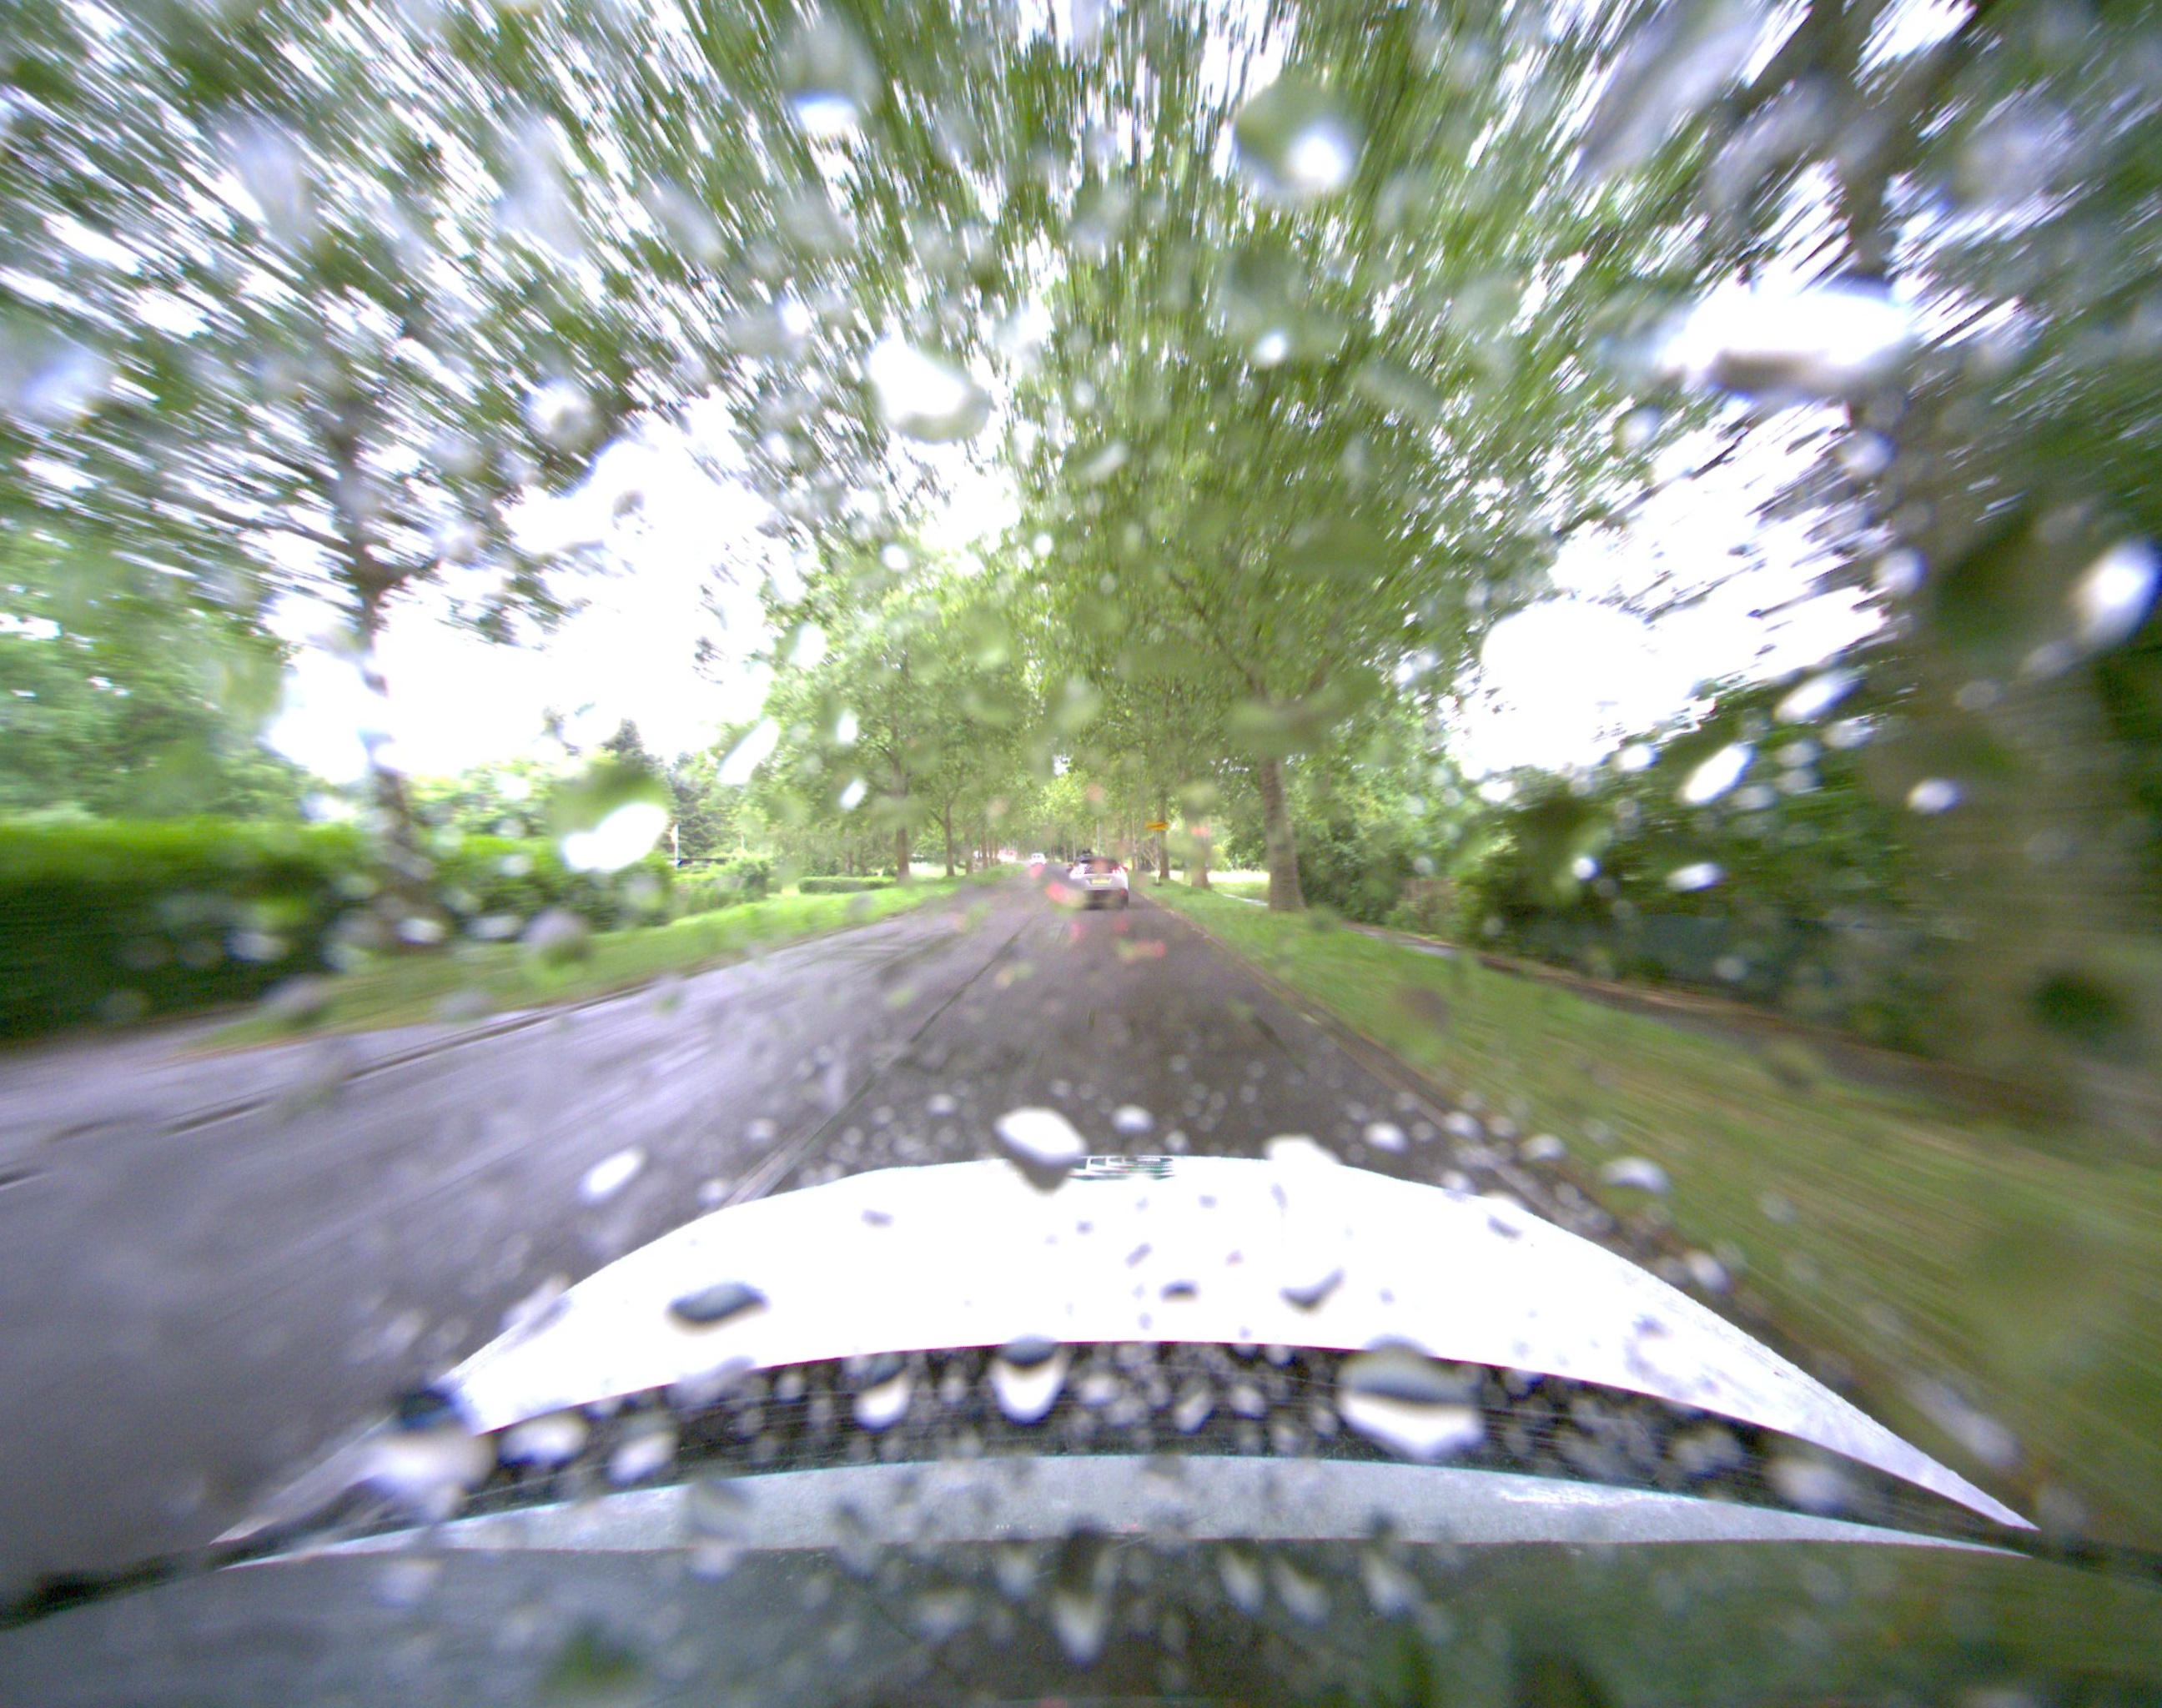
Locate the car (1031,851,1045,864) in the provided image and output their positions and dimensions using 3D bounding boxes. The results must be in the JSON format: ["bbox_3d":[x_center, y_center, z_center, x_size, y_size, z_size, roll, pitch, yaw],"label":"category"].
[{"bbox_3d":[-6.026,0.486,115.076,1.858,1.750,5.012,0,0,-2],"label":"car"}]

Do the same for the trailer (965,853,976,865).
[{"bbox_3d":[-24.743,1.108,182.375,2.482,2.567,5.319,0,0,-7],"label":"trailer"}]

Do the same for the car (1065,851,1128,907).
[{"bbox_3d":[0.521,0.711,25.240,1.787,1.578,3.846,0,0,2],"label":"car"}]
